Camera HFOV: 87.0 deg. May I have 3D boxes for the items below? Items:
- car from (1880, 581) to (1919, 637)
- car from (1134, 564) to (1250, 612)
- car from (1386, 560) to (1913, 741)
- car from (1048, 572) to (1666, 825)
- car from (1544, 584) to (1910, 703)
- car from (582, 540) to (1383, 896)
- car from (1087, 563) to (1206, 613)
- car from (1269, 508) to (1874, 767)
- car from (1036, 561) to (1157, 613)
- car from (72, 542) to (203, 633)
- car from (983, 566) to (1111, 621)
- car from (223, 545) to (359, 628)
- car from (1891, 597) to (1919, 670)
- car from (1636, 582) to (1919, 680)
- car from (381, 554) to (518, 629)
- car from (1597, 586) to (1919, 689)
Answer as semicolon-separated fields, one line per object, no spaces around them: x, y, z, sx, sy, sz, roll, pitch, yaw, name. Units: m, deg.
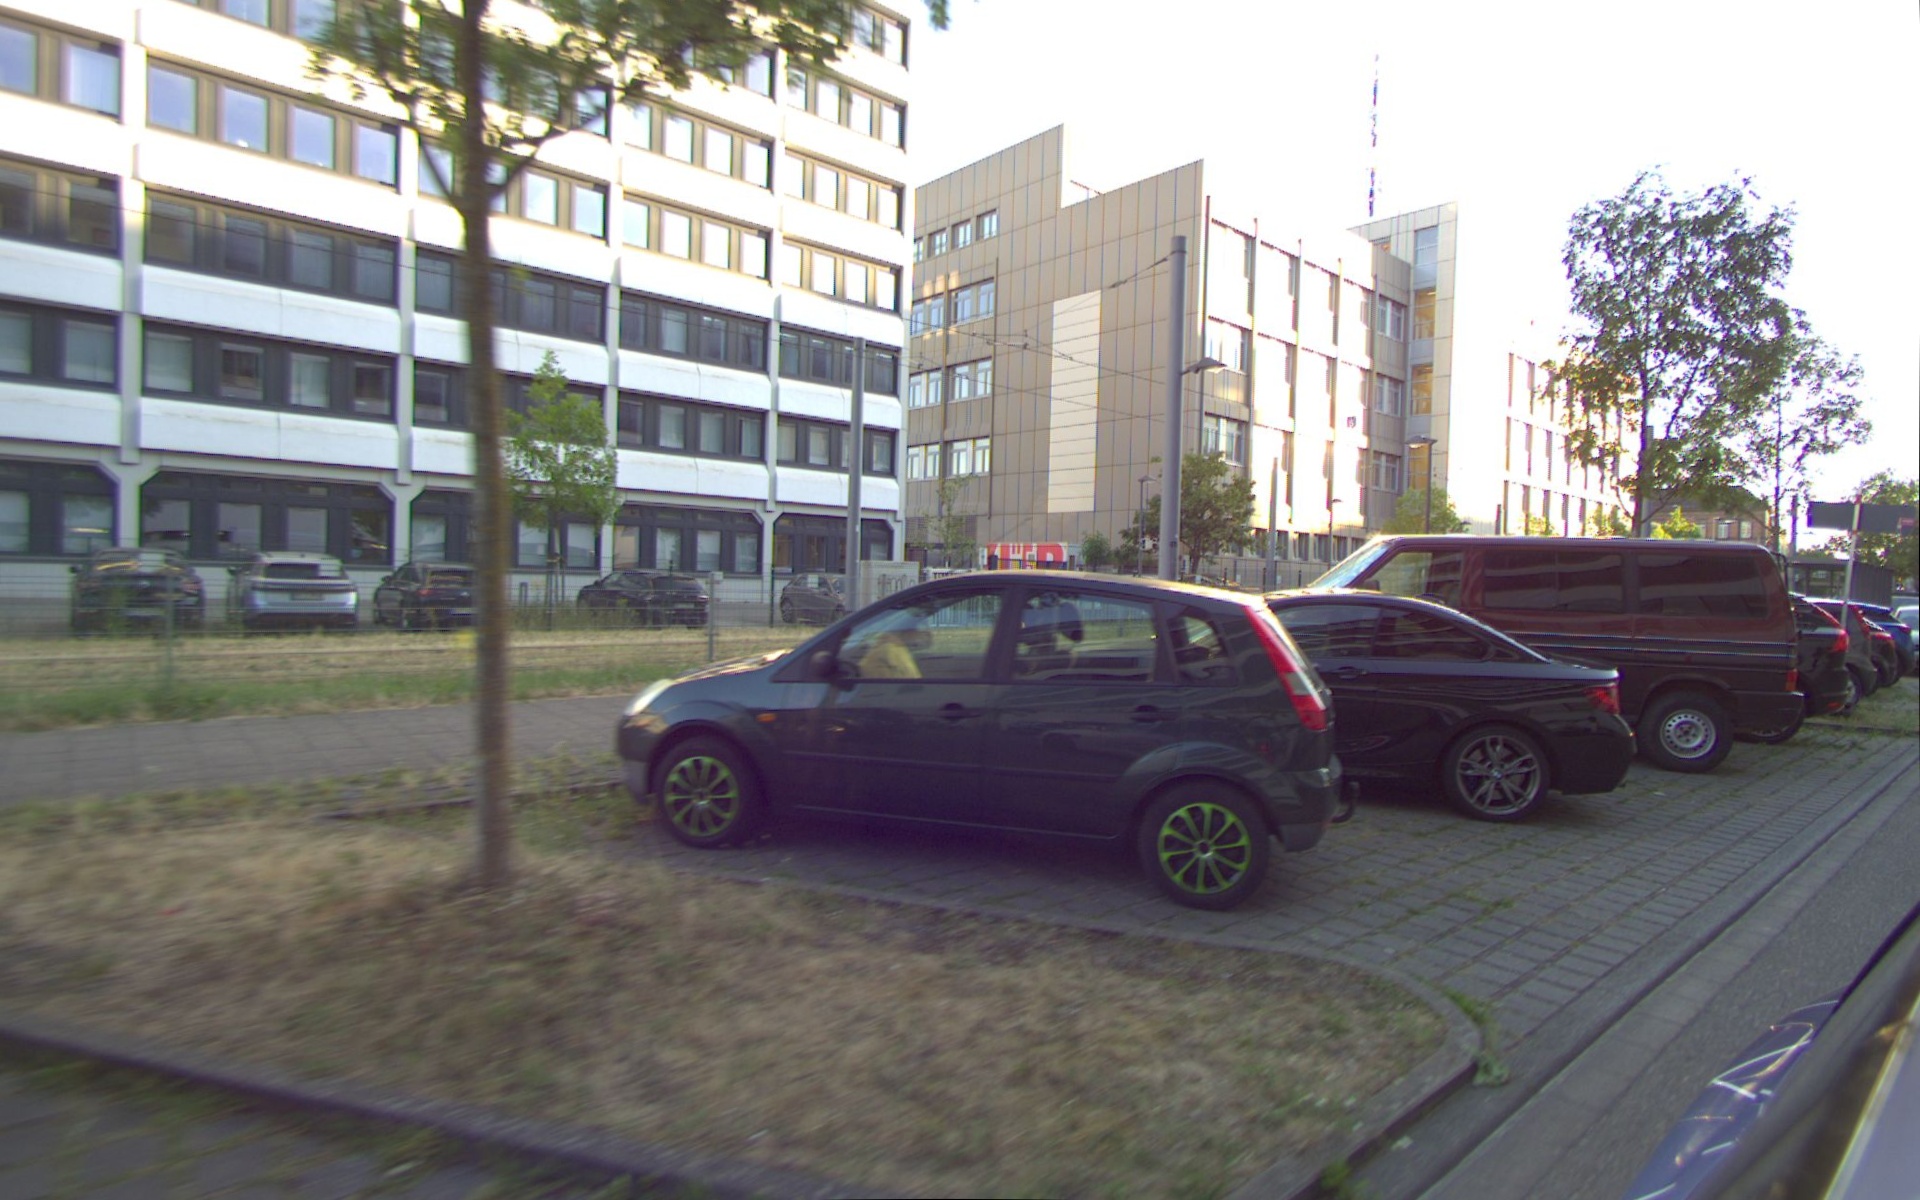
40.972;0.401;43.303;4.654;2.203;1.808;1;3;-42;car
8.611;-0.487;37.810;1.645;1.505;3.998;1;4;-40;car
7.417;0.477;11.466;4.538;1.771;1.862;1;-1;16;car
2.602;0.585;7.308;3.723;1.484;1.632;1;-1;14;car
11.196;0.600;15.084;3.940;1.615;1.730;0;0;14;car
0.124;0.464;5.471;3.723;1.461;1.756;1;-1;14;car
6.620;-0.456;36.262;1.645;1.505;3.998;1;4;-40;car
5.350;0.275;9.605;4.538;2.061;1.862;1;-1;16;car
4.630;-0.486;34.733;1.645;1.505;3.998;1;4;-40;car
-14.488;-0.173;17.752;1.564;1.416;3.992;1;-1;-42;car
2.789;-0.238;33.171;1.793;1.532;3.995;1;3;-42;car
-12.760;-0.202;19.214;1.564;1.416;3.992;1;-1;-42;car
21.266;0.669;21.659;1.728;1.484;3.942;0;0;40;car
15.419;0.517;19.073;3.942;1.539;1.920;3;2;14;car
-10.714;-0.128;21.112;1.564;1.416;3.992;1;-1;-42;car
13.198;0.566;16.858;3.937;1.483;1.731;2;1;12;car
